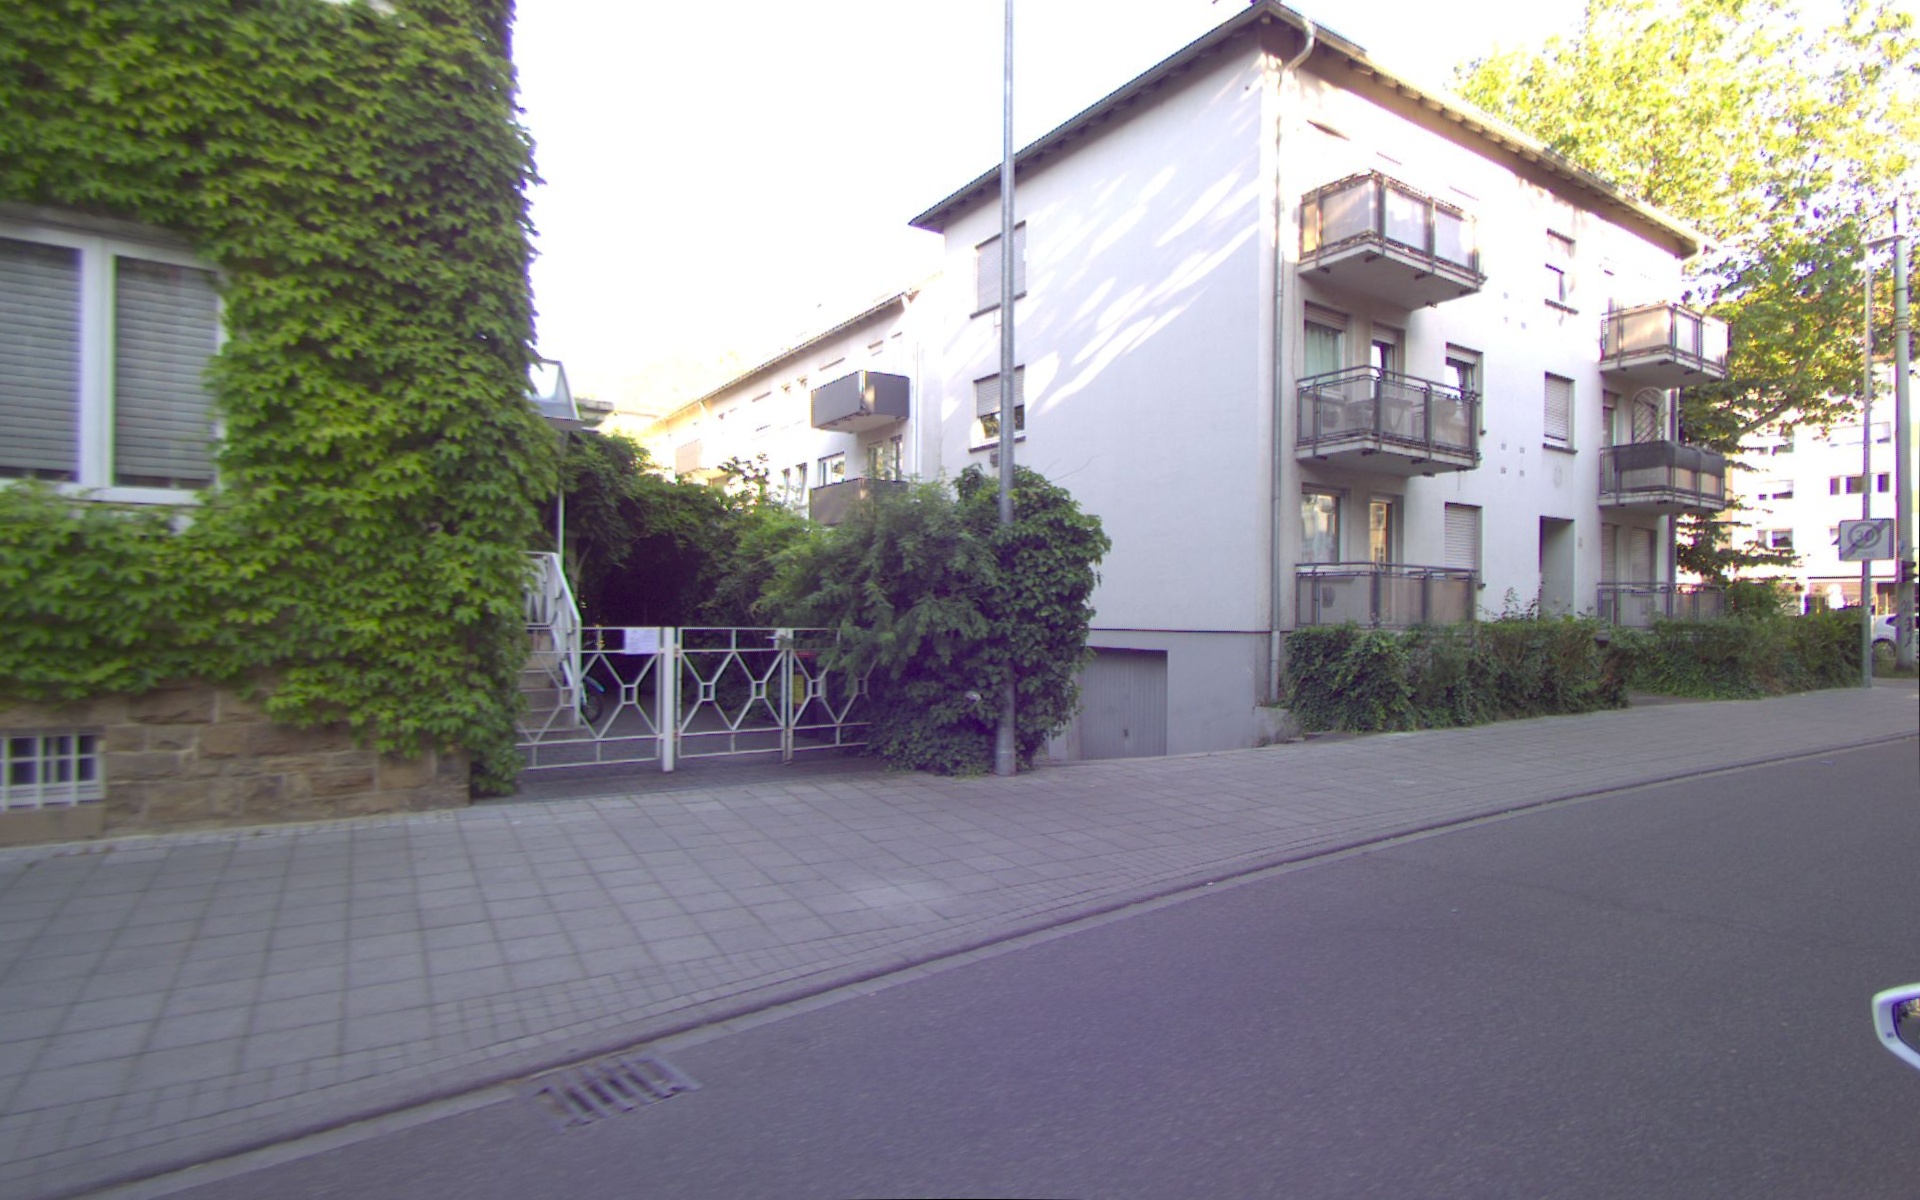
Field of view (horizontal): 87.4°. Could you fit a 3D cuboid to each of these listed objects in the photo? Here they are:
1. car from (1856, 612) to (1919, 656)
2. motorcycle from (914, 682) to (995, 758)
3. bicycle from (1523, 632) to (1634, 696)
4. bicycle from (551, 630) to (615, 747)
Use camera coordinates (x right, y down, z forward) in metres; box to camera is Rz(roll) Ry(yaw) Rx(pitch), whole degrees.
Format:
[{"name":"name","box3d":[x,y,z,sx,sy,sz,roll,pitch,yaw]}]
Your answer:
[{"name":"car","box3d":[32.778,1.129,33.844,1.503,1.468,3.658,1,-1,-38]},{"name":"motorcycle","box3d":[-0.121,2.283,19.414,0.739,1.313,1.562,1,-2,-41]},{"name":"bicycle","box3d":[11.138,1.136,18.141,1.590,1.022,0.517,2,1,19]},{"name":"bicycle","box3d":[-4.247,0.926,11.238,0.469,1.117,2.190,0,0,-26]}]
